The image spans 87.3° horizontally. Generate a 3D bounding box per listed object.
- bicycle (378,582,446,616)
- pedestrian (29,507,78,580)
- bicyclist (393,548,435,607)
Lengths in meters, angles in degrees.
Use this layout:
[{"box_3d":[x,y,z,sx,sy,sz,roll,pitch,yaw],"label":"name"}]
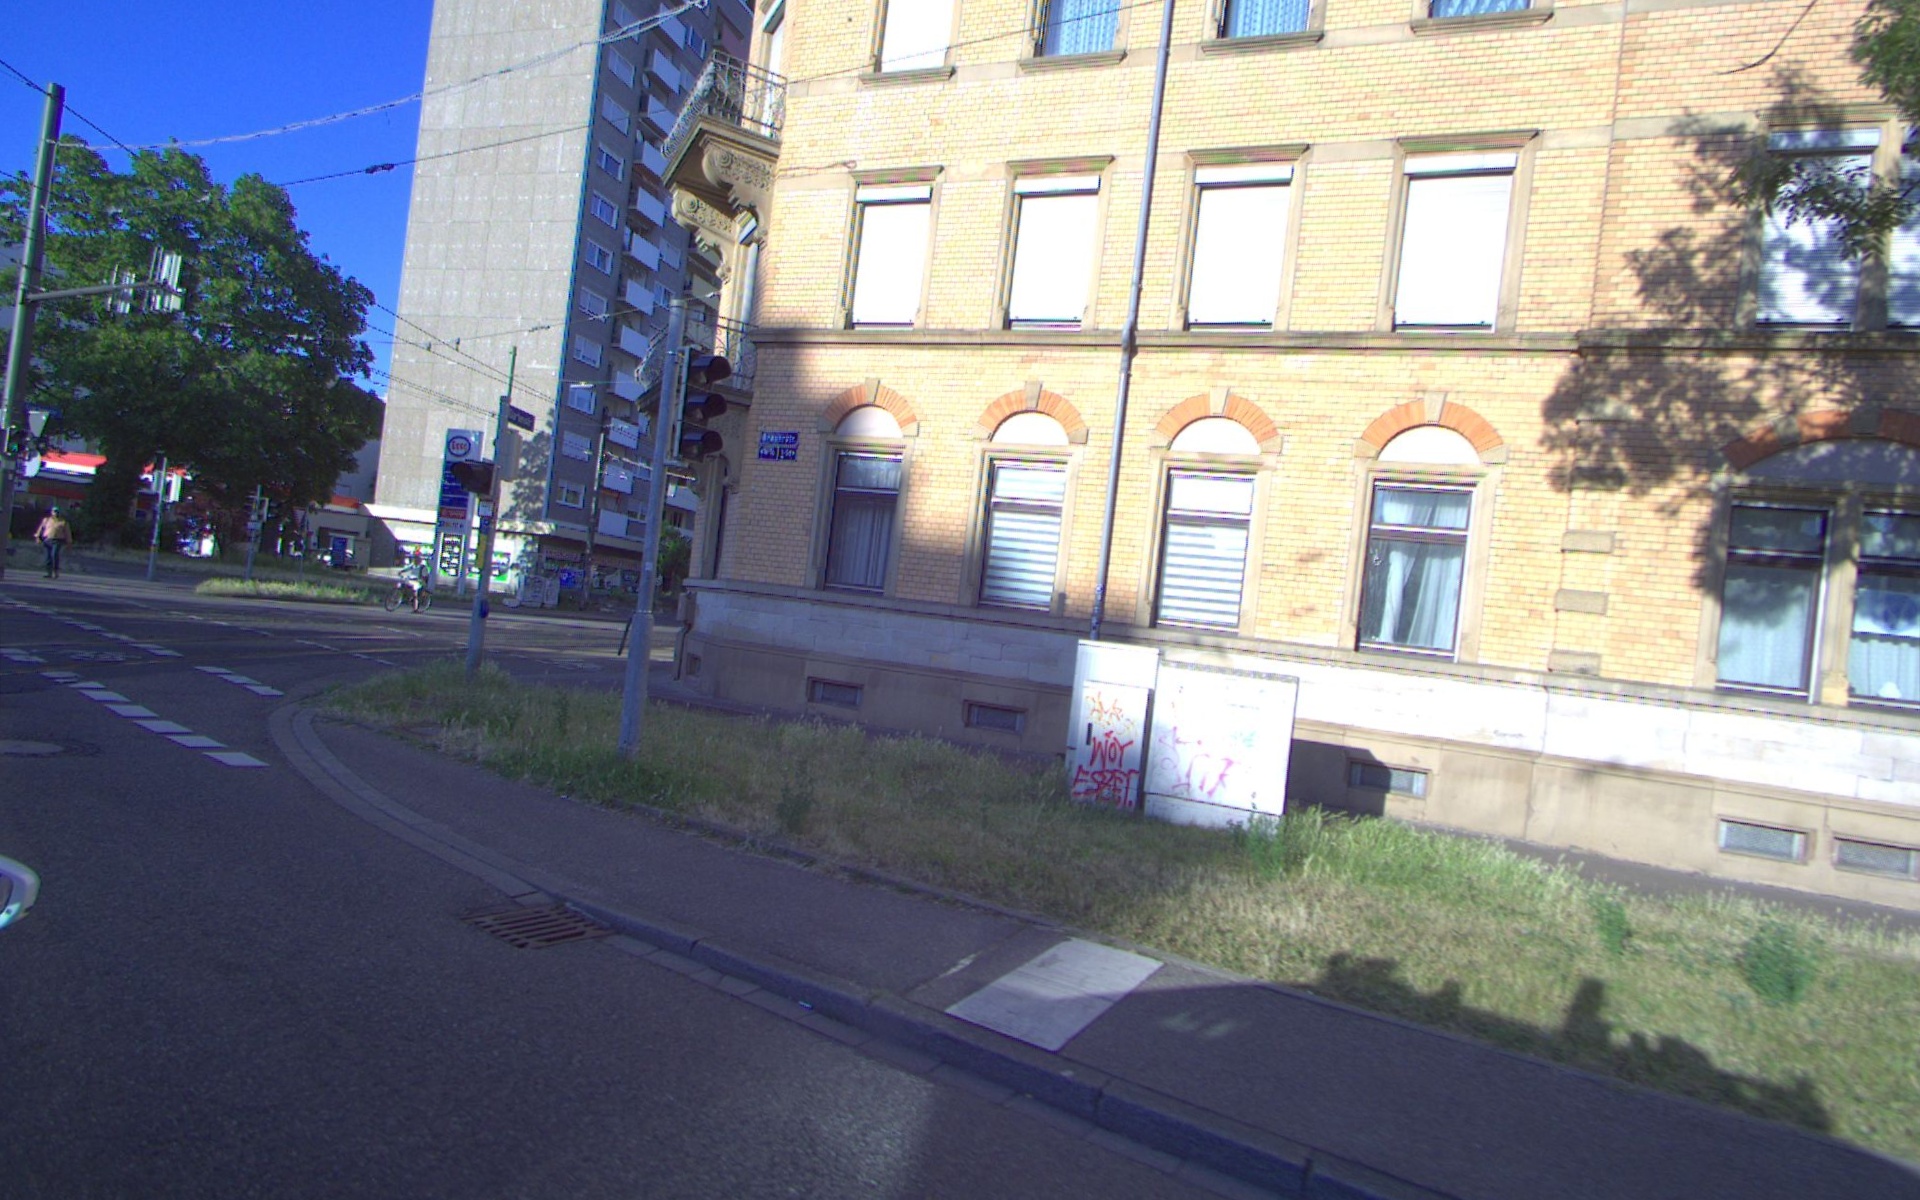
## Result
[{"box_3d":[-15.891,-0.018,29.241,0.610,0.838,1.817,7,-1,13],"label":"bicycle"},{"box_3d":[-21.660,-1.344,24.038,0.688,1.648,0.553,7,0,32],"label":"pedestrian"},{"box_3d":[-15.840,-0.640,29.195,0.625,1.602,0.696,7,0,14],"label":"bicyclist"}]
